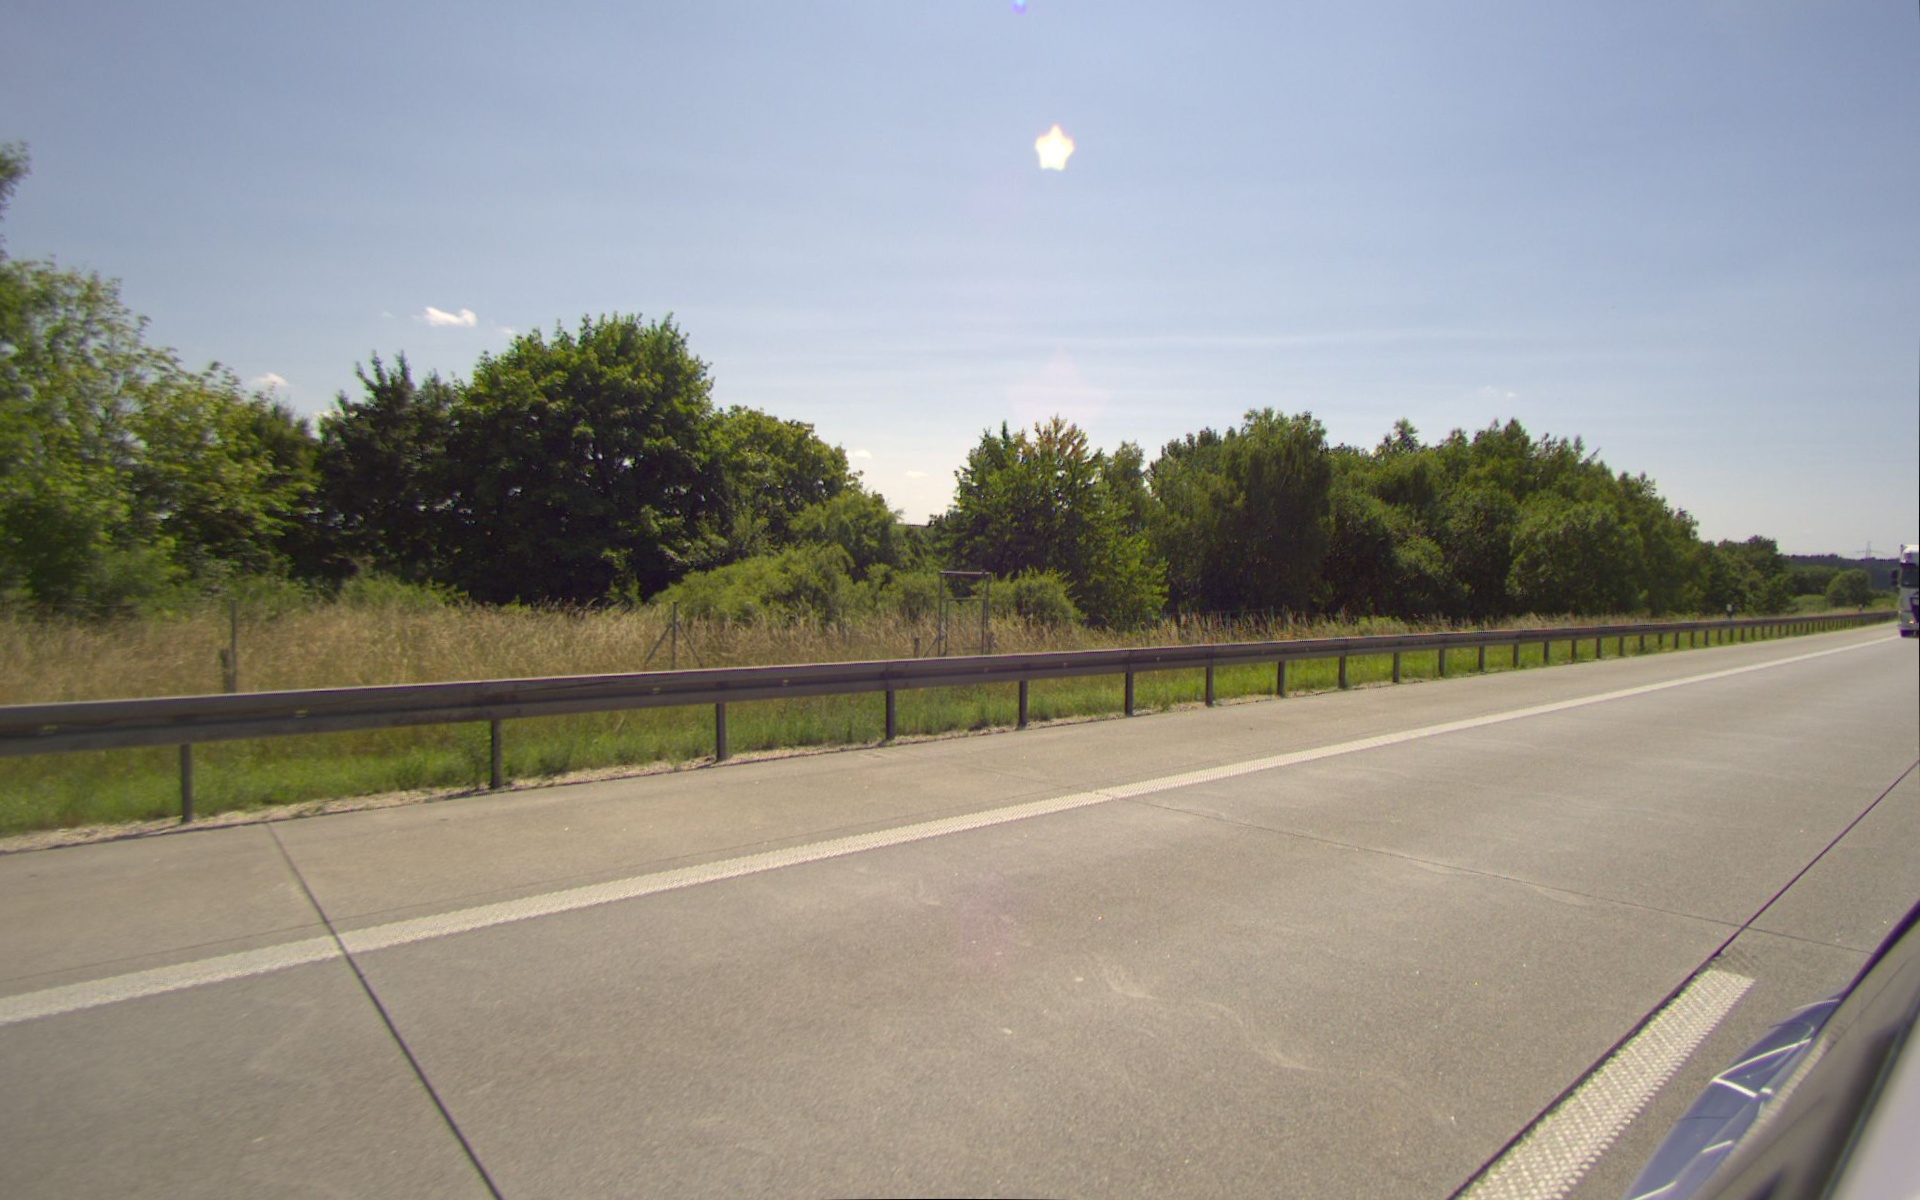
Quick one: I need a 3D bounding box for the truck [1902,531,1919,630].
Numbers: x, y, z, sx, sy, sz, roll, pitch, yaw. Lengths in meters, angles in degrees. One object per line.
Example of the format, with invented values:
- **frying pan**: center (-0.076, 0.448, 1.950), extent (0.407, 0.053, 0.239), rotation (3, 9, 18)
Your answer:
- **truck**: center (42.903, -0.801, 43.807), extent (5.702, 4.139, 2.814), rotation (0, 0, -44)
